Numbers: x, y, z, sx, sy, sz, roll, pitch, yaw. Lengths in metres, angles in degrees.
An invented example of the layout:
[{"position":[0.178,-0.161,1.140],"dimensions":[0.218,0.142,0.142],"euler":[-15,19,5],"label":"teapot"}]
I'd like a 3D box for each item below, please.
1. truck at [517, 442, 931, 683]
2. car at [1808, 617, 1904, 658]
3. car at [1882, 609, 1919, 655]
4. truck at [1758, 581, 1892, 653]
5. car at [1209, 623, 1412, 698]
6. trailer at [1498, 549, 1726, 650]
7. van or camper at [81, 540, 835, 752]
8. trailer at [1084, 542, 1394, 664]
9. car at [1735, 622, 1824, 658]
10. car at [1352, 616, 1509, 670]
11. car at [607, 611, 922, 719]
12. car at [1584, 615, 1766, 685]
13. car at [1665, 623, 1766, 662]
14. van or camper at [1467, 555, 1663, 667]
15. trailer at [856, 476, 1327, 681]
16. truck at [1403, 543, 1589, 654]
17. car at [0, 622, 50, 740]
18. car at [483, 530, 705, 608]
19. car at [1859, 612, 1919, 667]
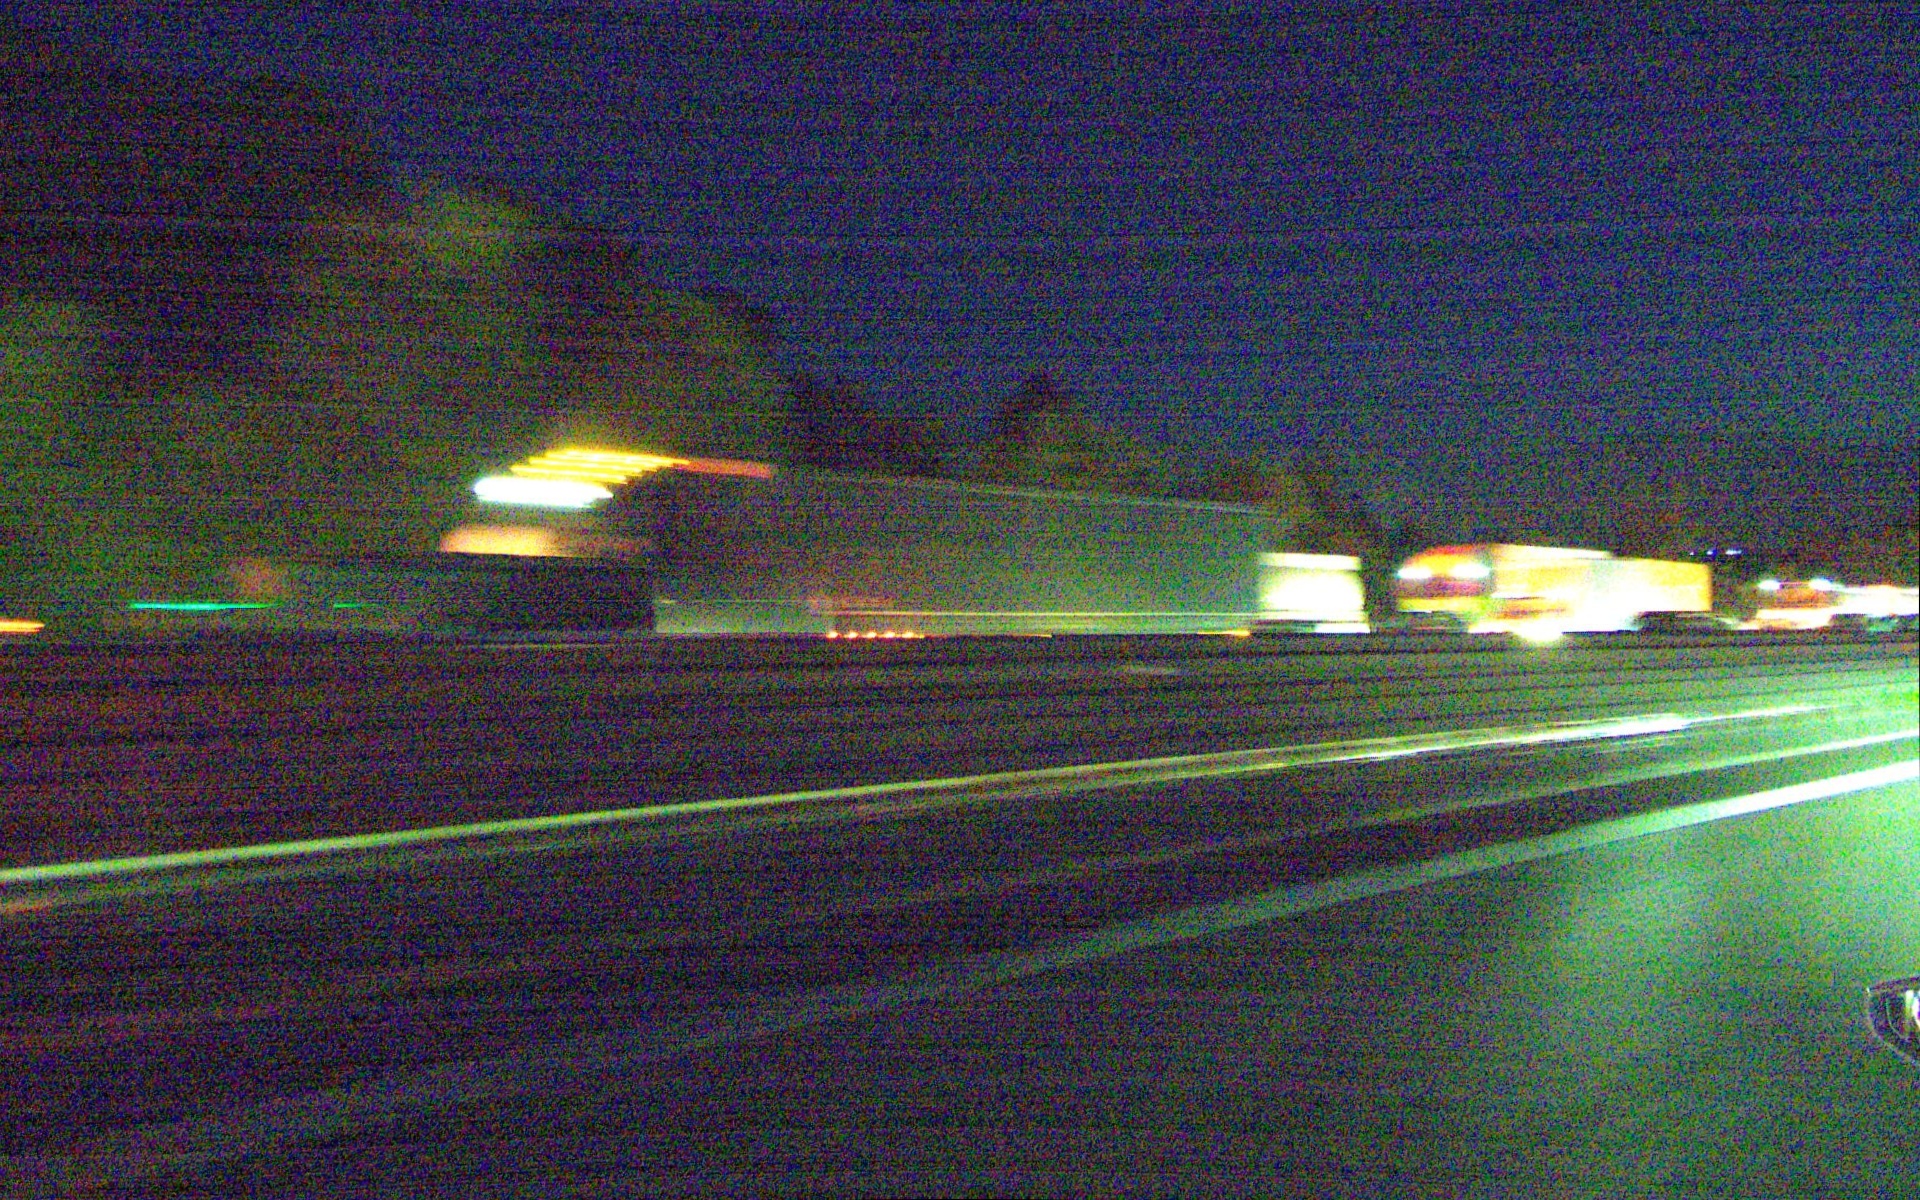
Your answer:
[{"position":[-3.998,-0.523,17.601],"dimensions":[6.646,3.561,2.391],"euler":[1,0,-31],"label":"truck"},{"position":[32.168,1.317,36.051],"dimensions":[3.956,1.372,1.562],"euler":[1,-1,-32],"label":"car"},{"position":[61.530,2.007,64.160],"dimensions":[6.290,2.755,2.300],"euler":[1,2,-33],"label":"car"},{"position":[39.177,0.821,45.415],"dimensions":[7.370,3.025,2.542],"euler":[2,-1,-32],"label":"truck"},{"position":[7.060,1.167,20.159],"dimensions":[3.949,1.372,1.564],"euler":[1,-1,-27],"label":"car"},{"position":[27.455,0.099,41.905],"dimensions":[12.987,3.724,2.867],"euler":[1,-1,-32],"label":"trailer"},{"position":[-3.873,0.345,8.659],"dimensions":[5.290,1.372,1.811],"euler":[1,-1,-31],"label":"van or camper"},{"position":[8.852,0.196,30.814],"dimensions":[11.059,3.253,2.380],"euler":[2,0,-33],"label":"trailer"},{"position":[33.045,1.603,40.484],"dimensions":[3.955,1.372,1.562],"euler":[1,-1,-32],"label":"car"},{"position":[13.031,1.154,27.763],"dimensions":[4.585,1.372,1.563],"euler":[1,-1,-29],"label":"car"},{"position":[-2.820,0.870,14.666],"dimensions":[4.187,1.372,1.789],"euler":[1,-1,-29],"label":"car"},{"position":[15.369,1.035,21.569],"dimensions":[3.949,1.372,1.564],"euler":[1,-1,-27],"label":"car"},{"position":[28.152,1.563,37.409],"dimensions":[3.955,1.372,1.706],"euler":[1,-1,-32],"label":"car"},{"position":[19.848,0.385,32.798],"dimensions":[7.311,3.315,2.420],"euler":[1,0,-32],"label":"van or camper"},{"position":[3.296,-0.266,21.908],"dimensions":[11.051,3.675,2.382],"euler":[2,0,-31],"label":"trailer"},{"position":[19.787,0.017,36.954],"dimensions":[7.184,3.724,2.867],"euler":[1,-1,-32],"label":"truck"},{"position":[-13.578,0.950,11.656],"dimensions":[4.187,1.372,1.563],"euler":[1,-1,-29],"label":"car"},{"position":[-7.252,-0.556,19.987],"dimensions":[3.951,1.372,1.563],"euler":[1,-1,-29],"label":"car"},{"position":[25.763,1.031,26.836],"dimensions":[3.955,1.372,1.562],"euler":[1,-1,-32],"label":"car"}]
